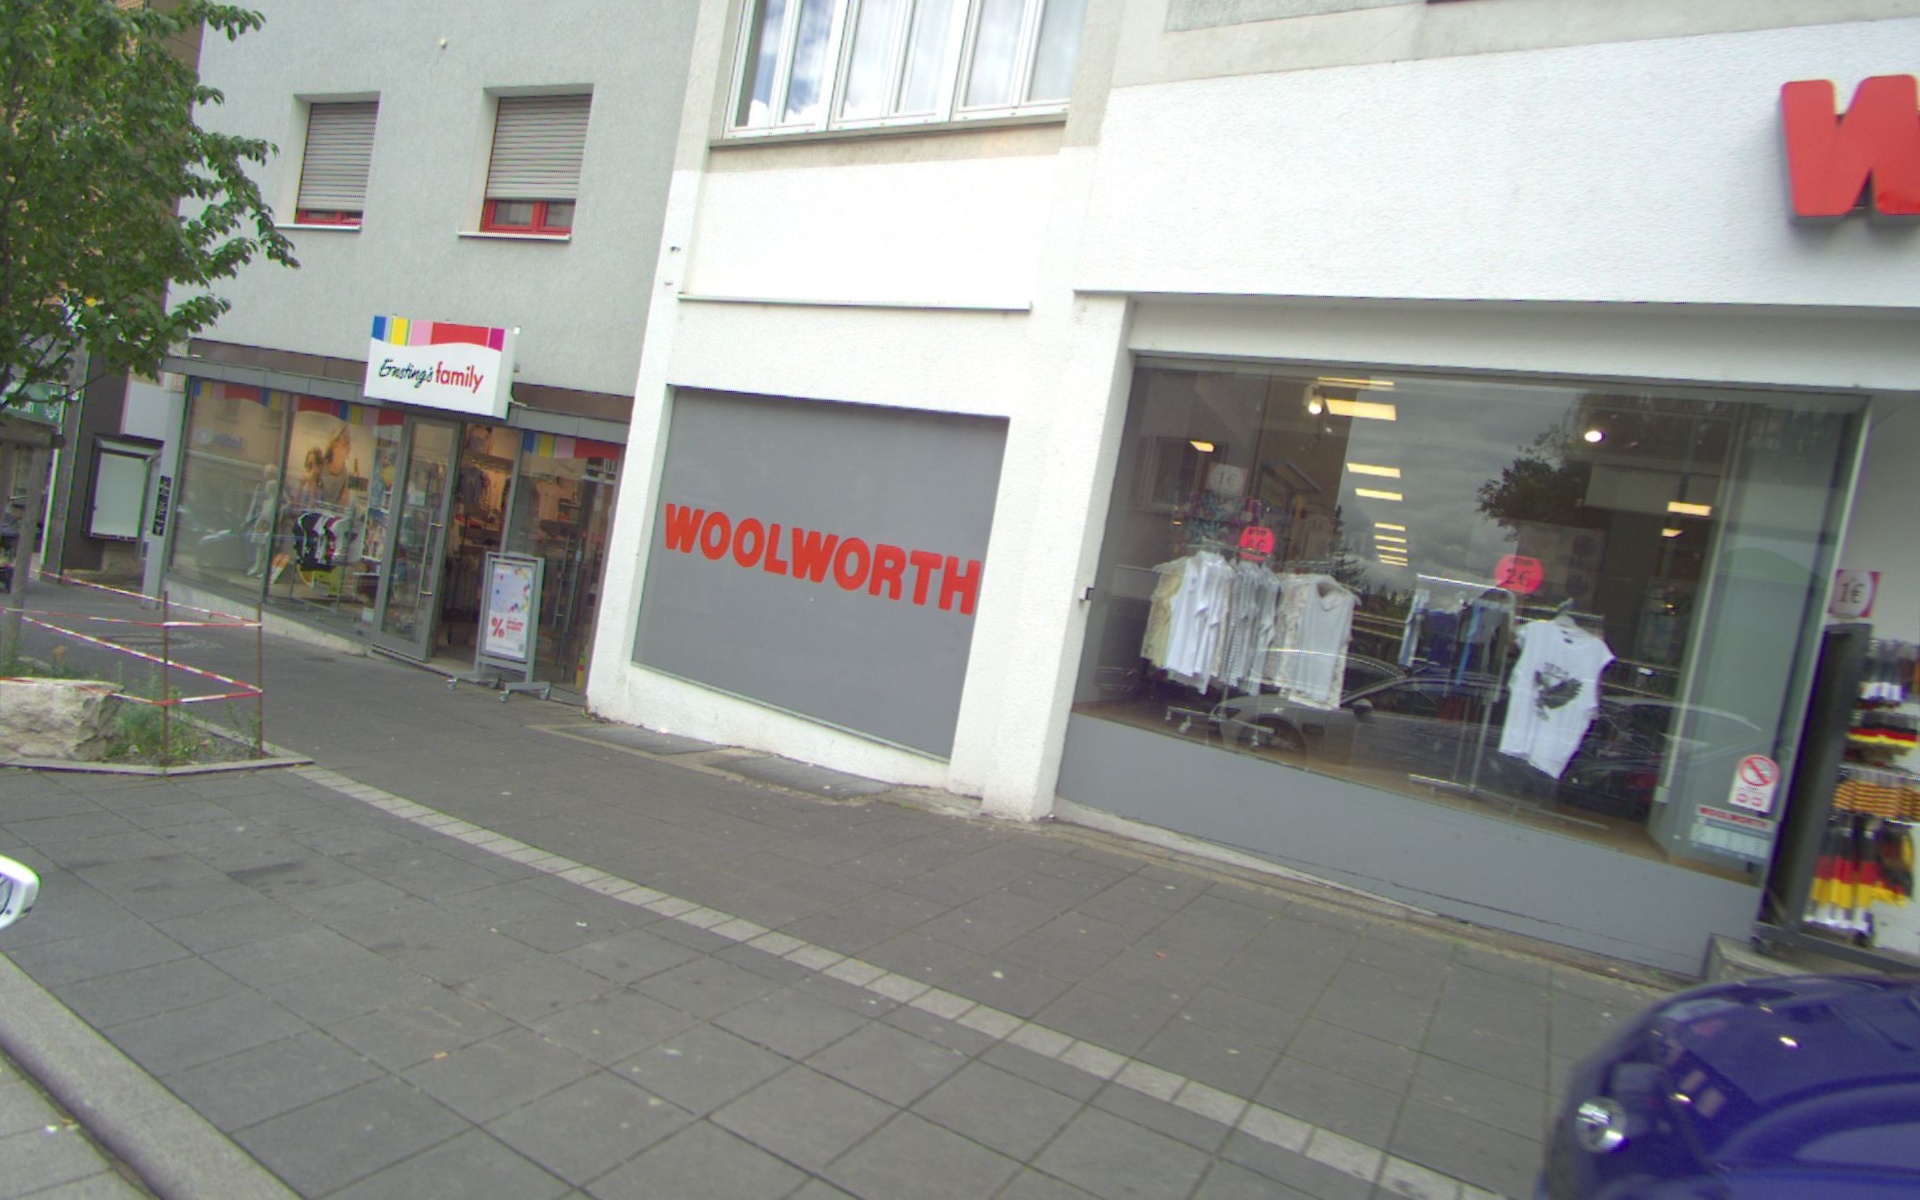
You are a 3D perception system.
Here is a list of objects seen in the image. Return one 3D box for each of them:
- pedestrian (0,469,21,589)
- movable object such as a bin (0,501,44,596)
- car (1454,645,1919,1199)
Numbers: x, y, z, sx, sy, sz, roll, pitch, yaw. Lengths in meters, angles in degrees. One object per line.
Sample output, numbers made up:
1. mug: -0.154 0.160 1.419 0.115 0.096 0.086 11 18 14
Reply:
1. pedestrian: -13.472 -1.009 13.681 0.983 1.606 0.735 8 4 30
2. movable object such as a bin: -12.725 -0.703 13.235 0.891 1.173 0.722 8 3 30
3. car: 2.610 1.041 0.936 3.733 1.518 1.750 7 2 27
